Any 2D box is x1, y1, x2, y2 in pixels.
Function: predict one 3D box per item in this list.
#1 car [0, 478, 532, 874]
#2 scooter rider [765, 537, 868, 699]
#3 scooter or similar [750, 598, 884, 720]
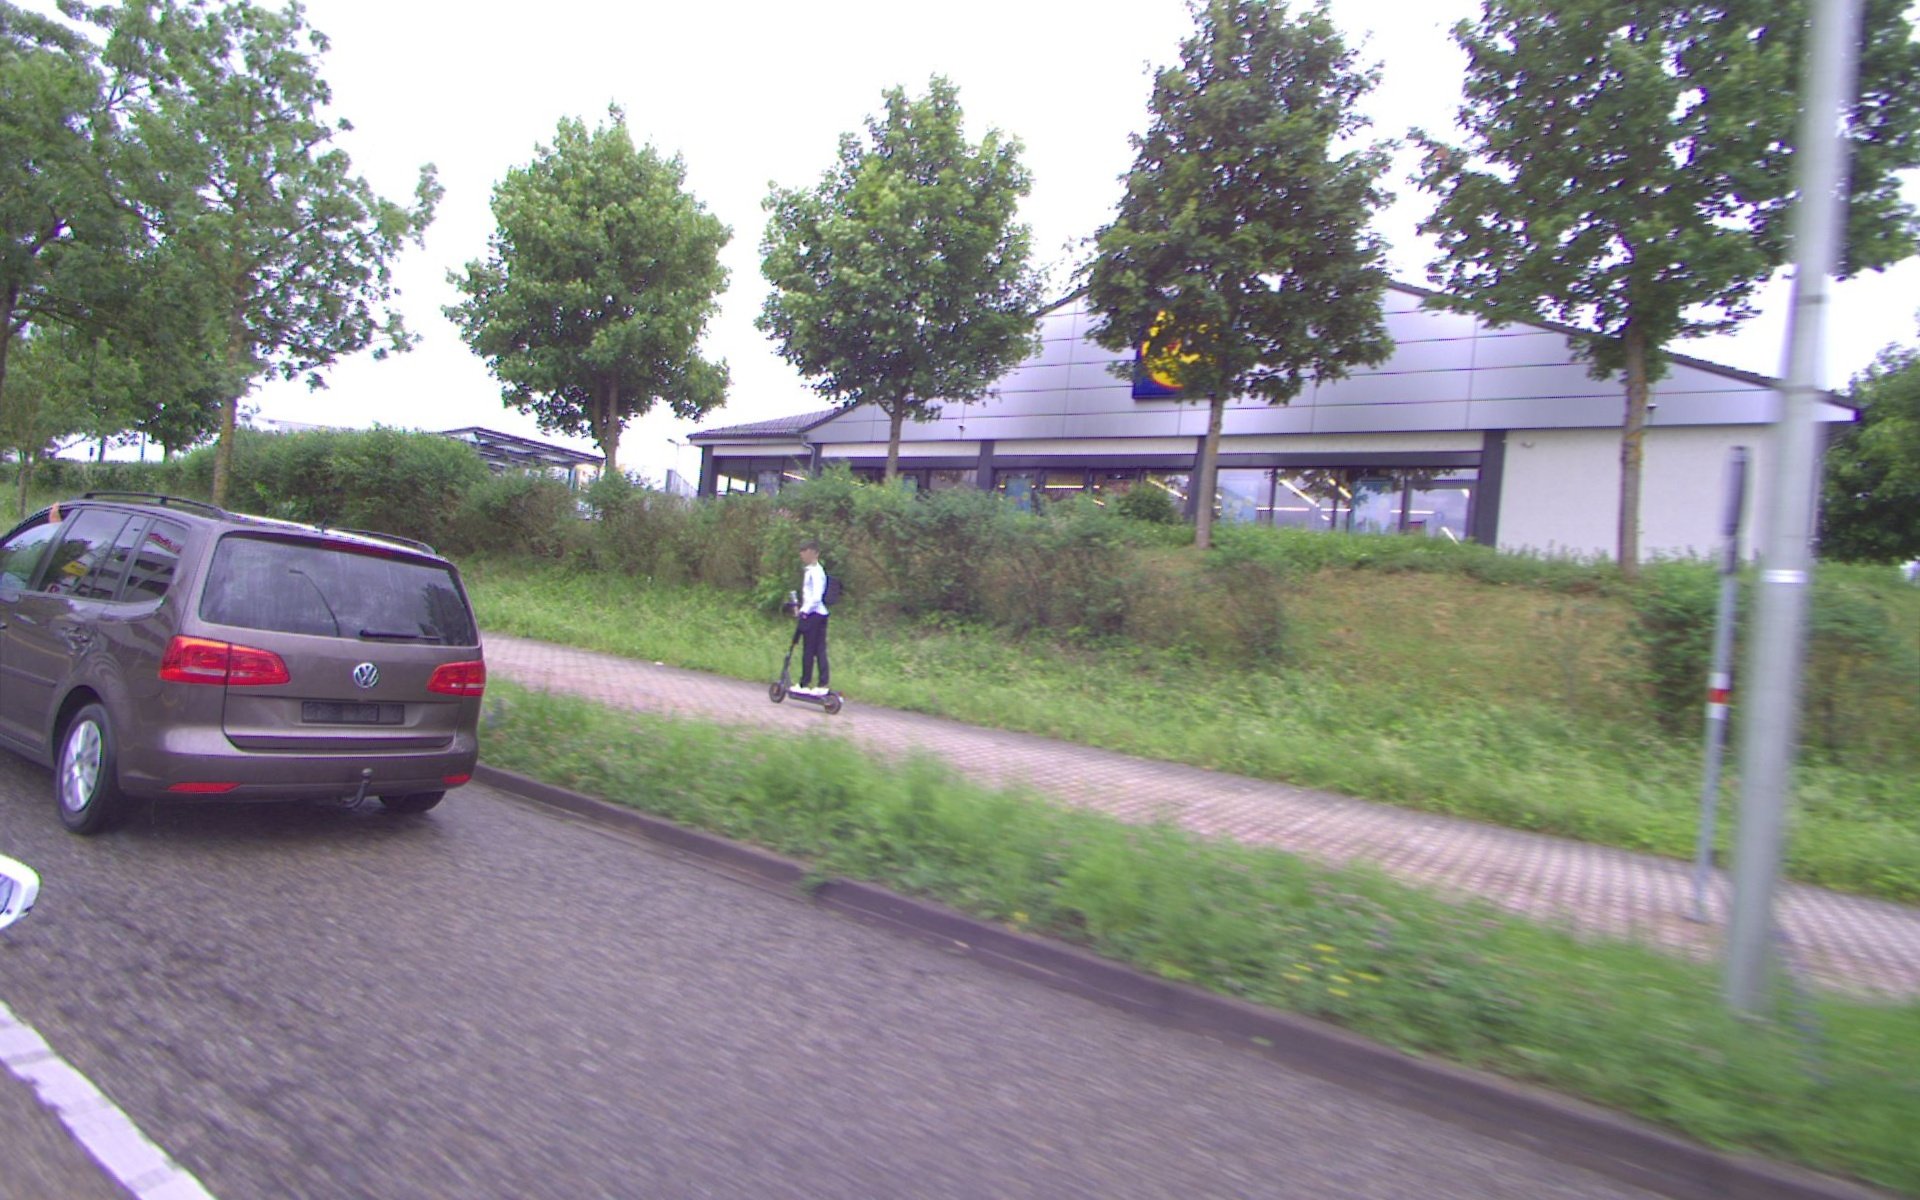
[{"bbox_3d":[-4.704,0.246,6.037,4.148,1.599,1.689,7,-2,31],"label":"car"},{"bbox_3d":[-1.738,0.213,12.200,0.844,1.844,0.695,7,2,32],"label":"scooter rider"},{"bbox_3d":[-1.740,0.688,12.195,1.377,1.280,0.695,7,2,32],"label":"scooter or similar"}]
